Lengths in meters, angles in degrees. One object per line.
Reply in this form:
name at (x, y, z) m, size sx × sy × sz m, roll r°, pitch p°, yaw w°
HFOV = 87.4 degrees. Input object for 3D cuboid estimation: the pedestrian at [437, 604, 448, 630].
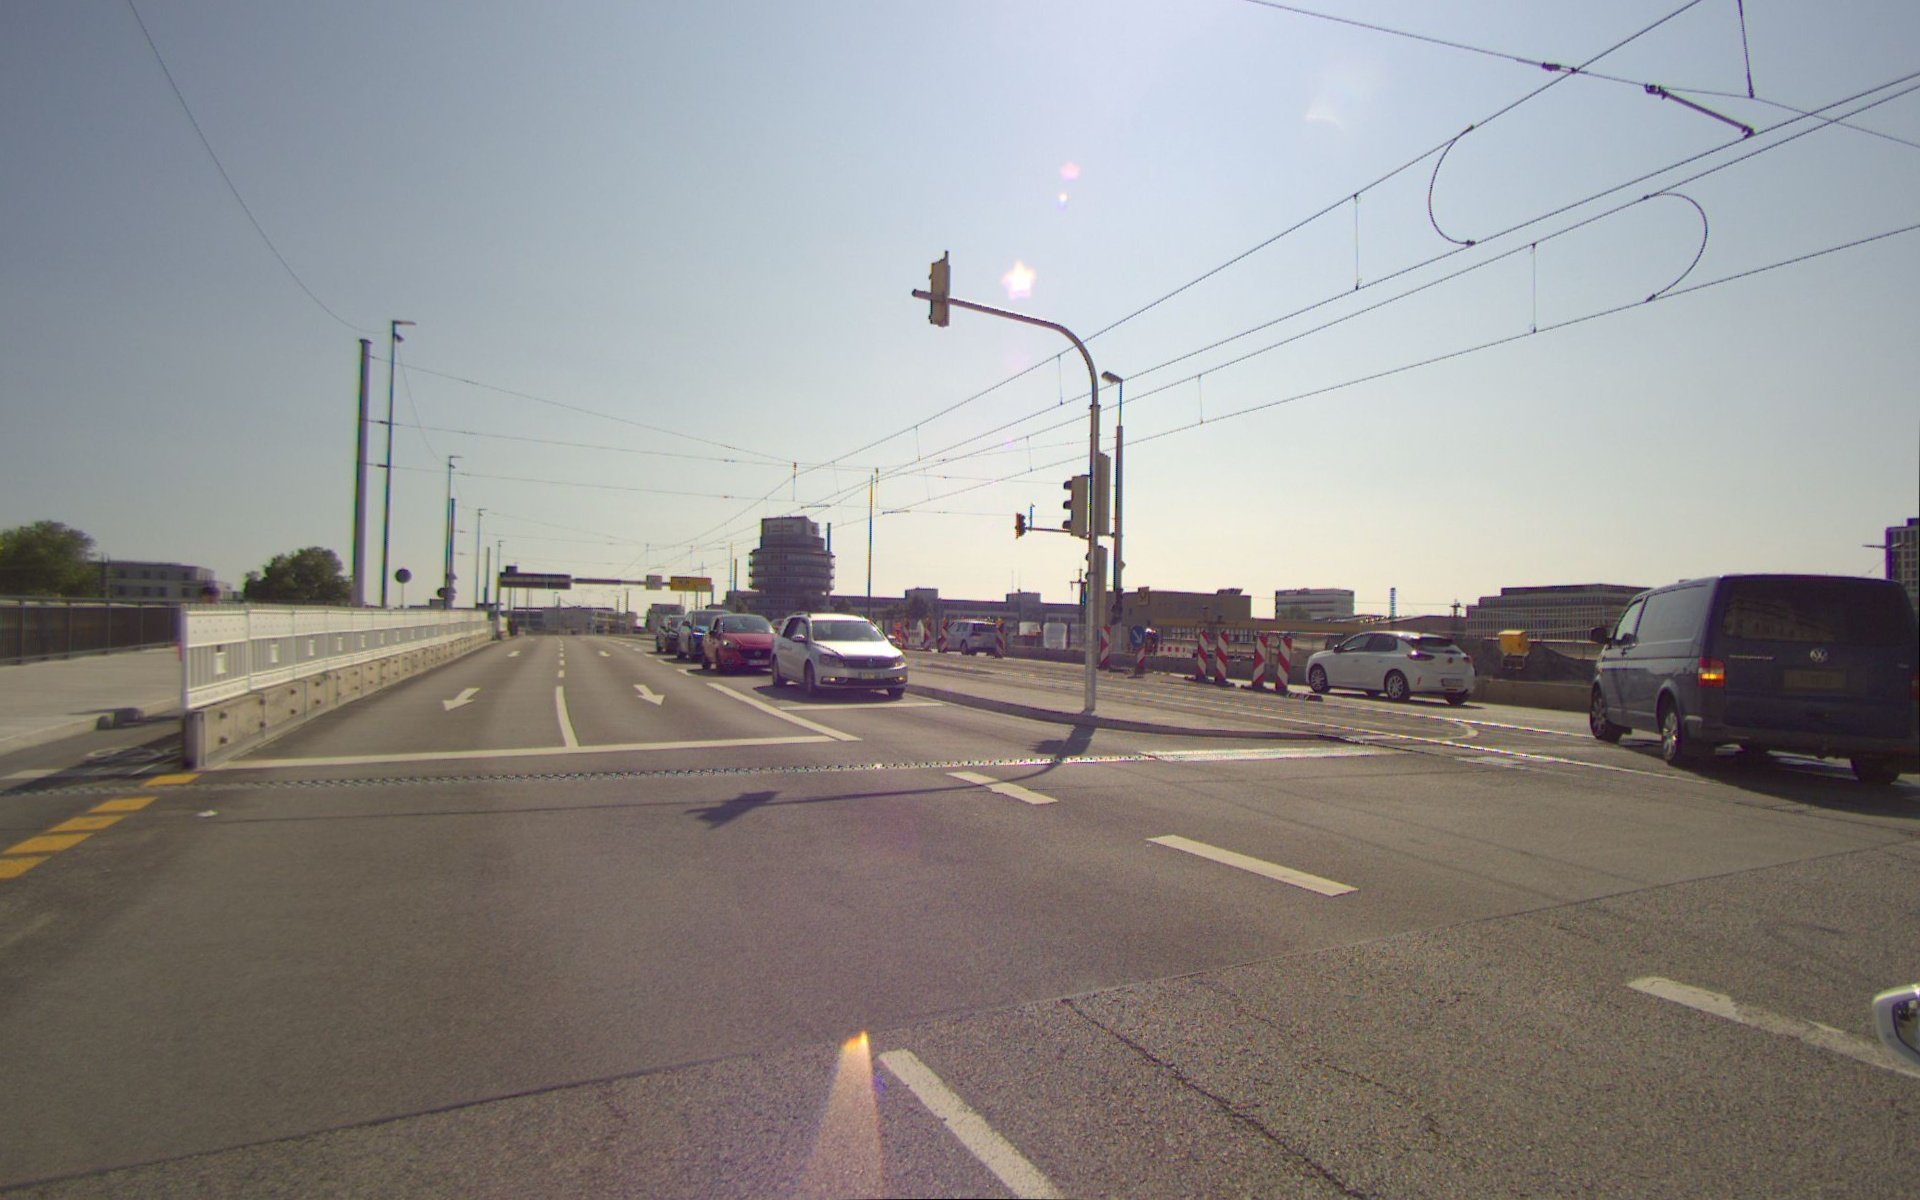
pedestrian at (-39.435, 1.293, 76.543) m, size 0.627 × 1.918 × 0.748 m, roll 3°, pitch -2°, yaw -23°

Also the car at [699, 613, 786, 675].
car at (-5.686, 1.087, 25.916) m, size 1.516 × 1.456 × 3.959 m, roll 1°, pitch -1°, yaw -22°

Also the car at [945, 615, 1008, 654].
car at (0.885, 1.999, 57.578) m, size 1.857 × 2.059 × 4.866 m, roll 3°, pitch -3°, yaw -22°

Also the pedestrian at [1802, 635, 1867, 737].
pedestrian at (16.299, 1.566, 18.738) m, size 0.850 × 1.819 × 0.818 m, roll 0°, pitch -1°, yaw 38°

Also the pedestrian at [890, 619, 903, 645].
pedestrian at (-4.673, 2.358, 73.914) m, size 0.773 × 1.960 × 0.795 m, roll 1°, pitch -2°, yaw -23°

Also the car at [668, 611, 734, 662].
car at (-8.536, 1.153, 32.857) m, size 1.650 × 1.570 × 4.535 m, roll 1°, pitch -1°, yaw -20°

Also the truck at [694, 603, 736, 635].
truck at (-25.991, 1.987, 106.145) m, size 2.433 × 3.176 × 11.153 m, roll 2°, pitch -1°, yaw -23°

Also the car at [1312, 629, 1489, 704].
car at (9.363, 1.374, 21.635) m, size 1.695 × 1.423 × 3.401 m, roll 3°, pitch -2°, yaw -16°

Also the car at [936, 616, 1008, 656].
car at (0.458, 1.514, 42.814) m, size 1.699 × 1.552 × 3.676 m, roll 3°, pitch -2°, yaw -23°

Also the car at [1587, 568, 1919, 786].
car at (8.450, 0.715, 11.086) m, size 1.786 × 1.931 × 4.054 m, roll 0°, pitch -1°, yaw 20°

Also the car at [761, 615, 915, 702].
car at (-2.462, 1.015, 19.156) m, size 1.620 × 1.456 × 4.615 m, roll 1°, pitch -1°, yaw -24°

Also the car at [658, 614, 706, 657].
car at (-10.366, 1.273, 37.357) m, size 1.487 × 1.520 × 4.160 m, roll 0°, pitch -1°, yaw -19°
